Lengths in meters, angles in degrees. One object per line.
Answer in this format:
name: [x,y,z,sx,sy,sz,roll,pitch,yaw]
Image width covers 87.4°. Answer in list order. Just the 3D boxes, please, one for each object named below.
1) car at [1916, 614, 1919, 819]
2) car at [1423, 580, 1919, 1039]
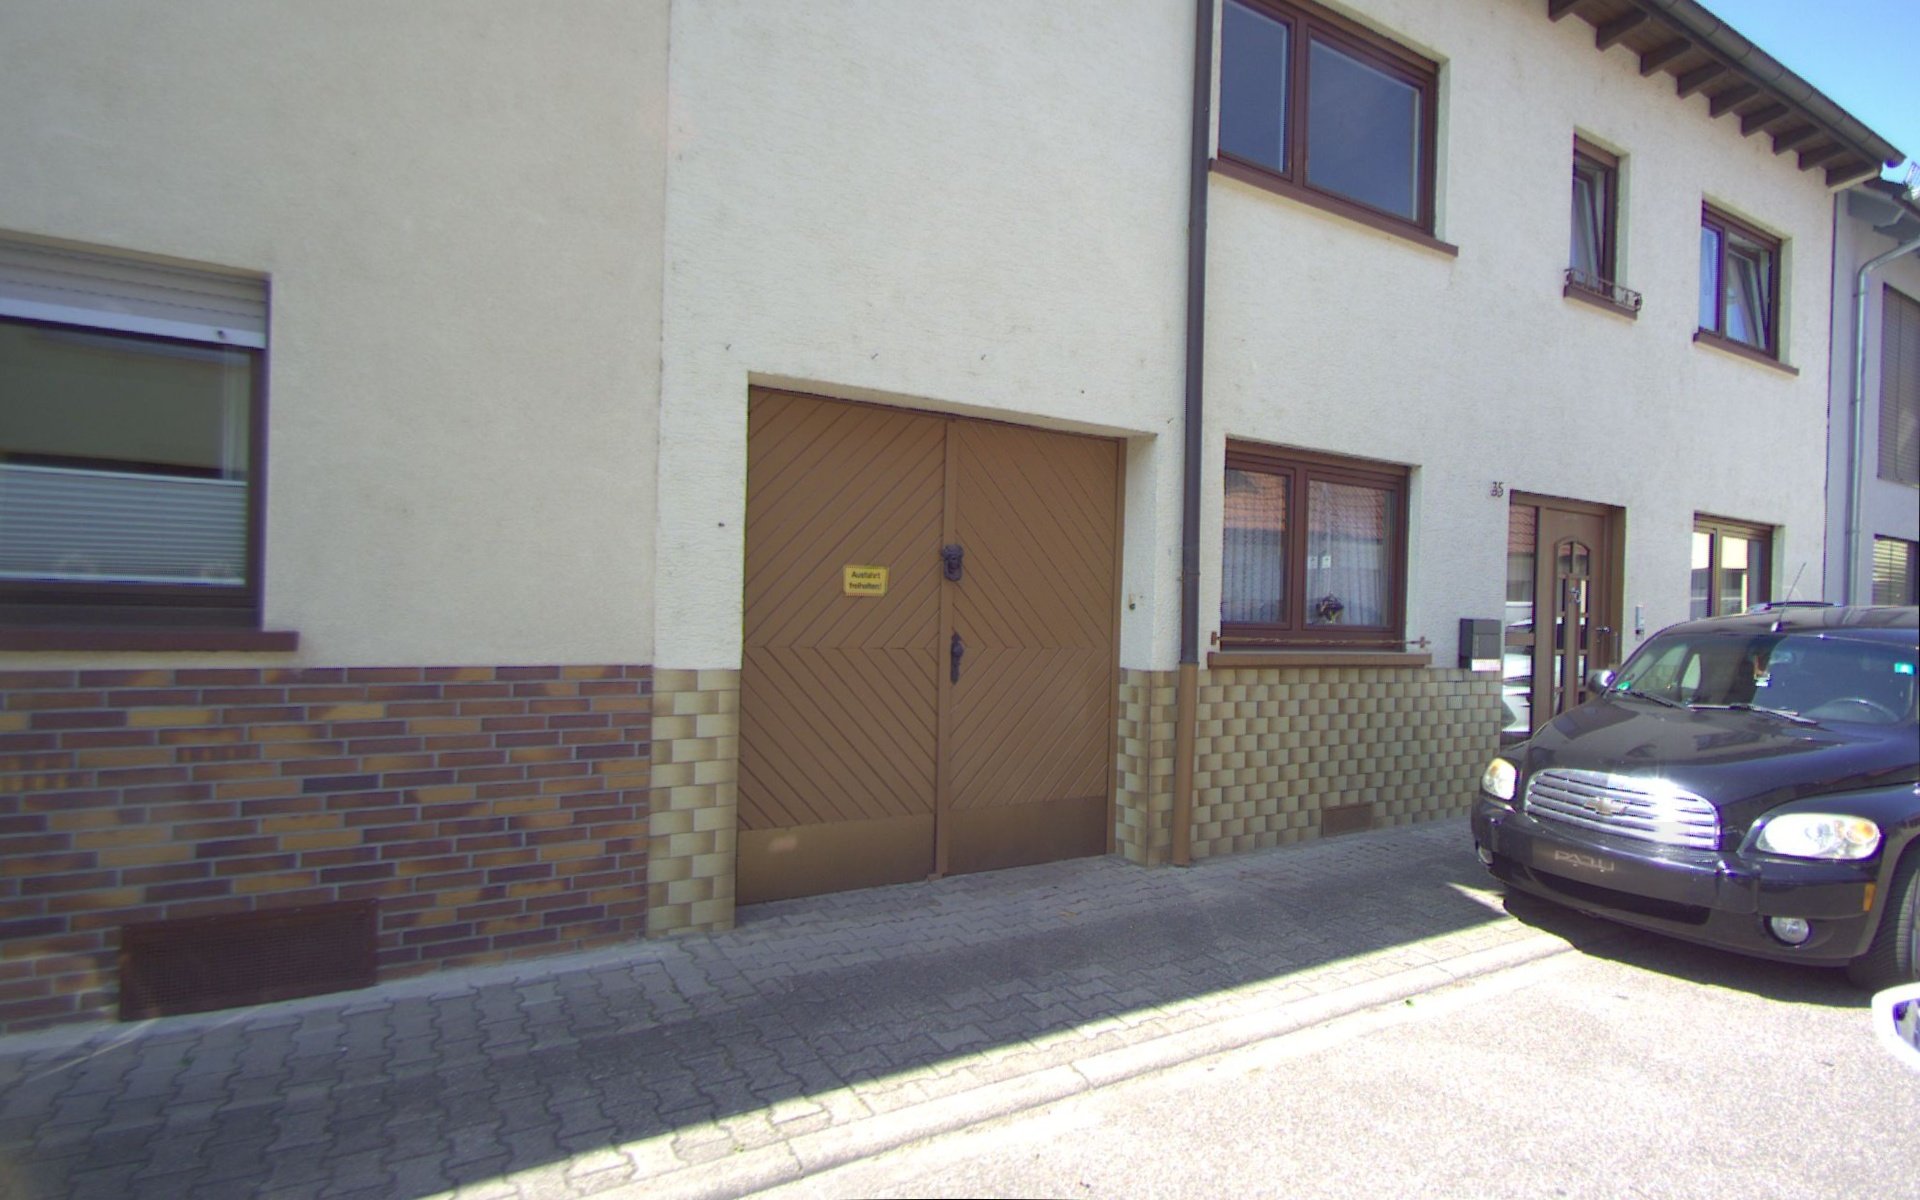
car: [9.929,0.989,8.511,4.303,1.636,1.763,2,-1,-34]
car: [4.478,0.810,5.330,3.942,1.636,1.714,2,-1,-30]
